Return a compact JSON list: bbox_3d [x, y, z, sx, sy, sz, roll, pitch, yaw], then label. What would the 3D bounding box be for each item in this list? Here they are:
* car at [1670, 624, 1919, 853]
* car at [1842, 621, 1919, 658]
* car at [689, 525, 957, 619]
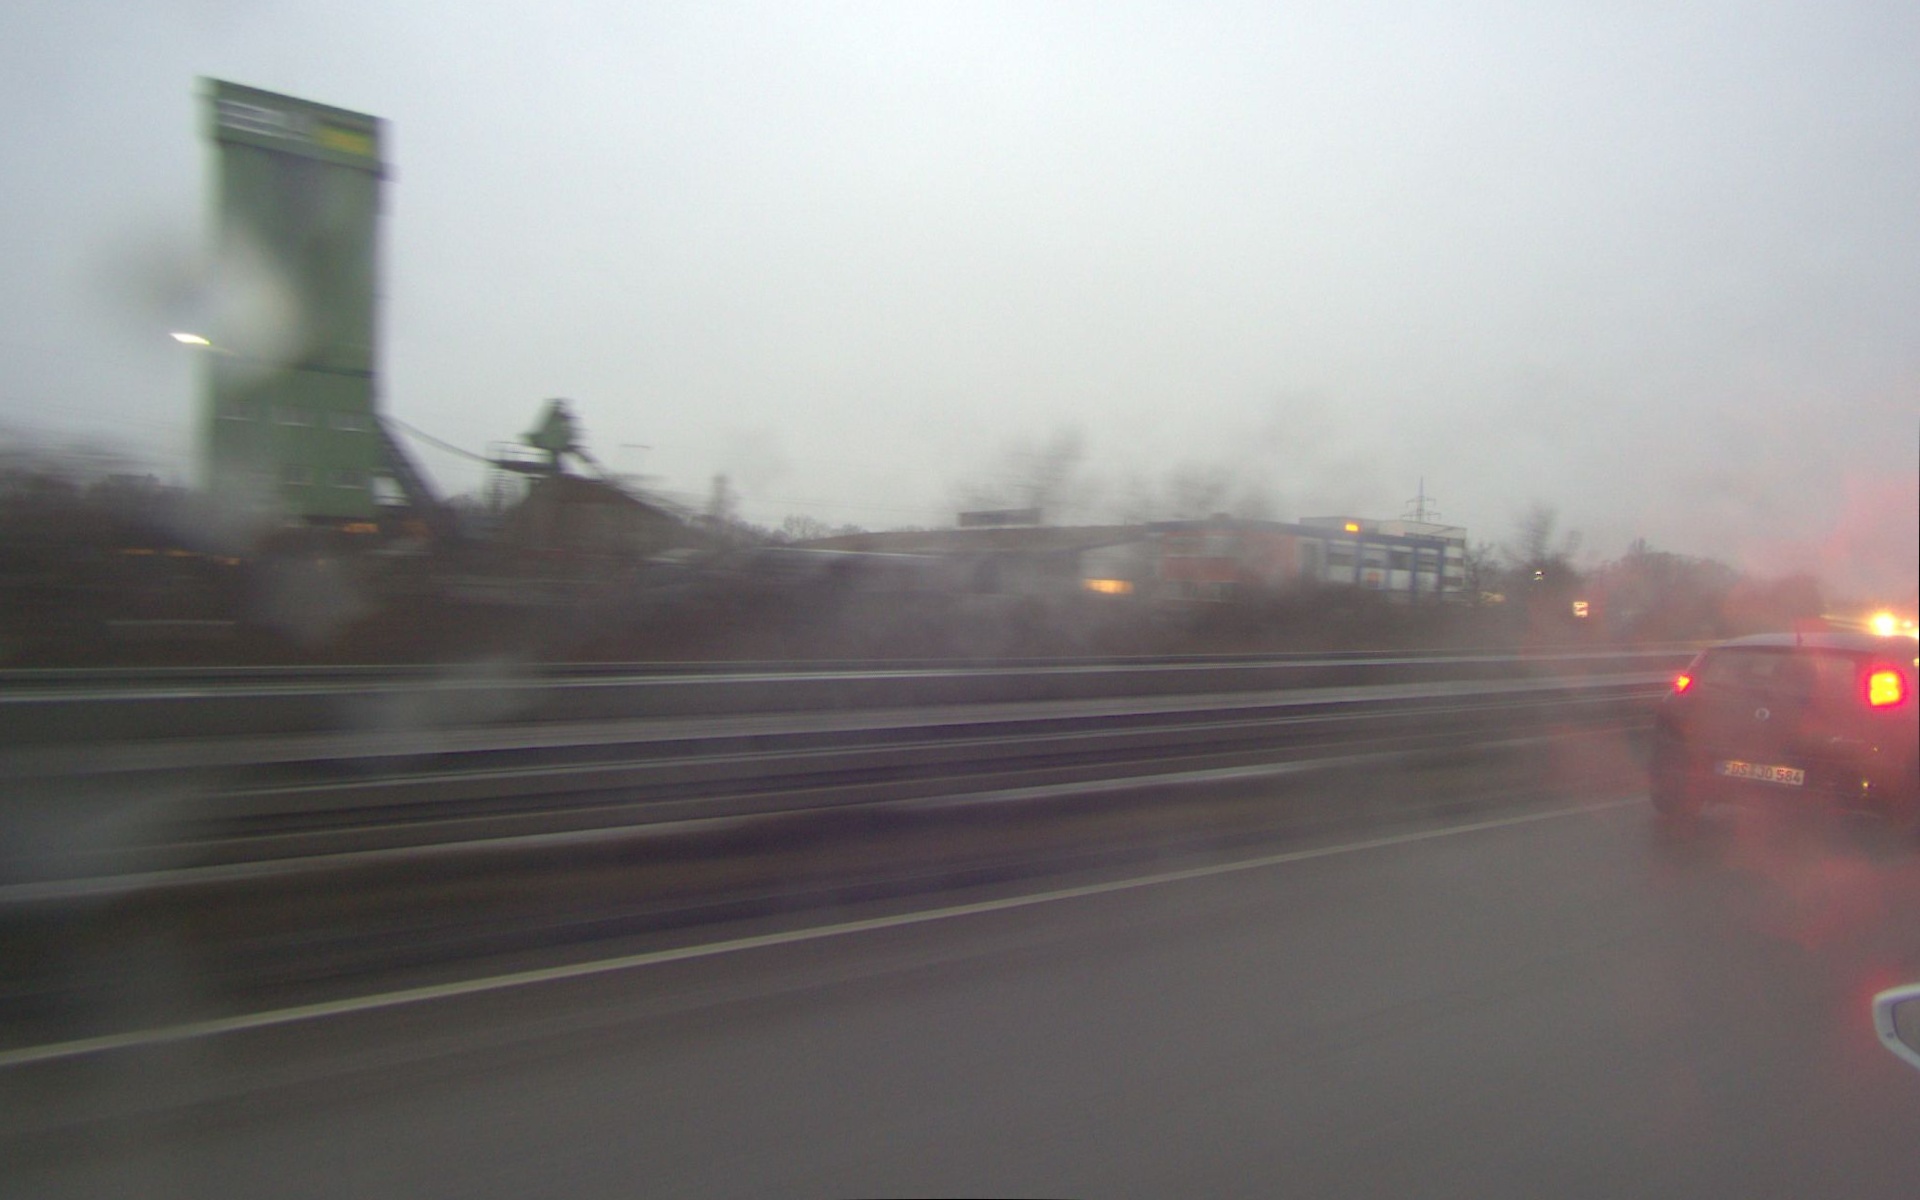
[{"bbox_3d":[7.533,0.977,8.114,3.959,1.410,1.615,2,1,-34],"label":"car"},{"bbox_3d":[44.828,1.875,48.670,4.633,1.706,1.785,1,-1,-30],"label":"car"},{"bbox_3d":[-5.197,-0.915,38.901,9.811,3.253,3.181,1,-1,-27],"label":"car"}]
